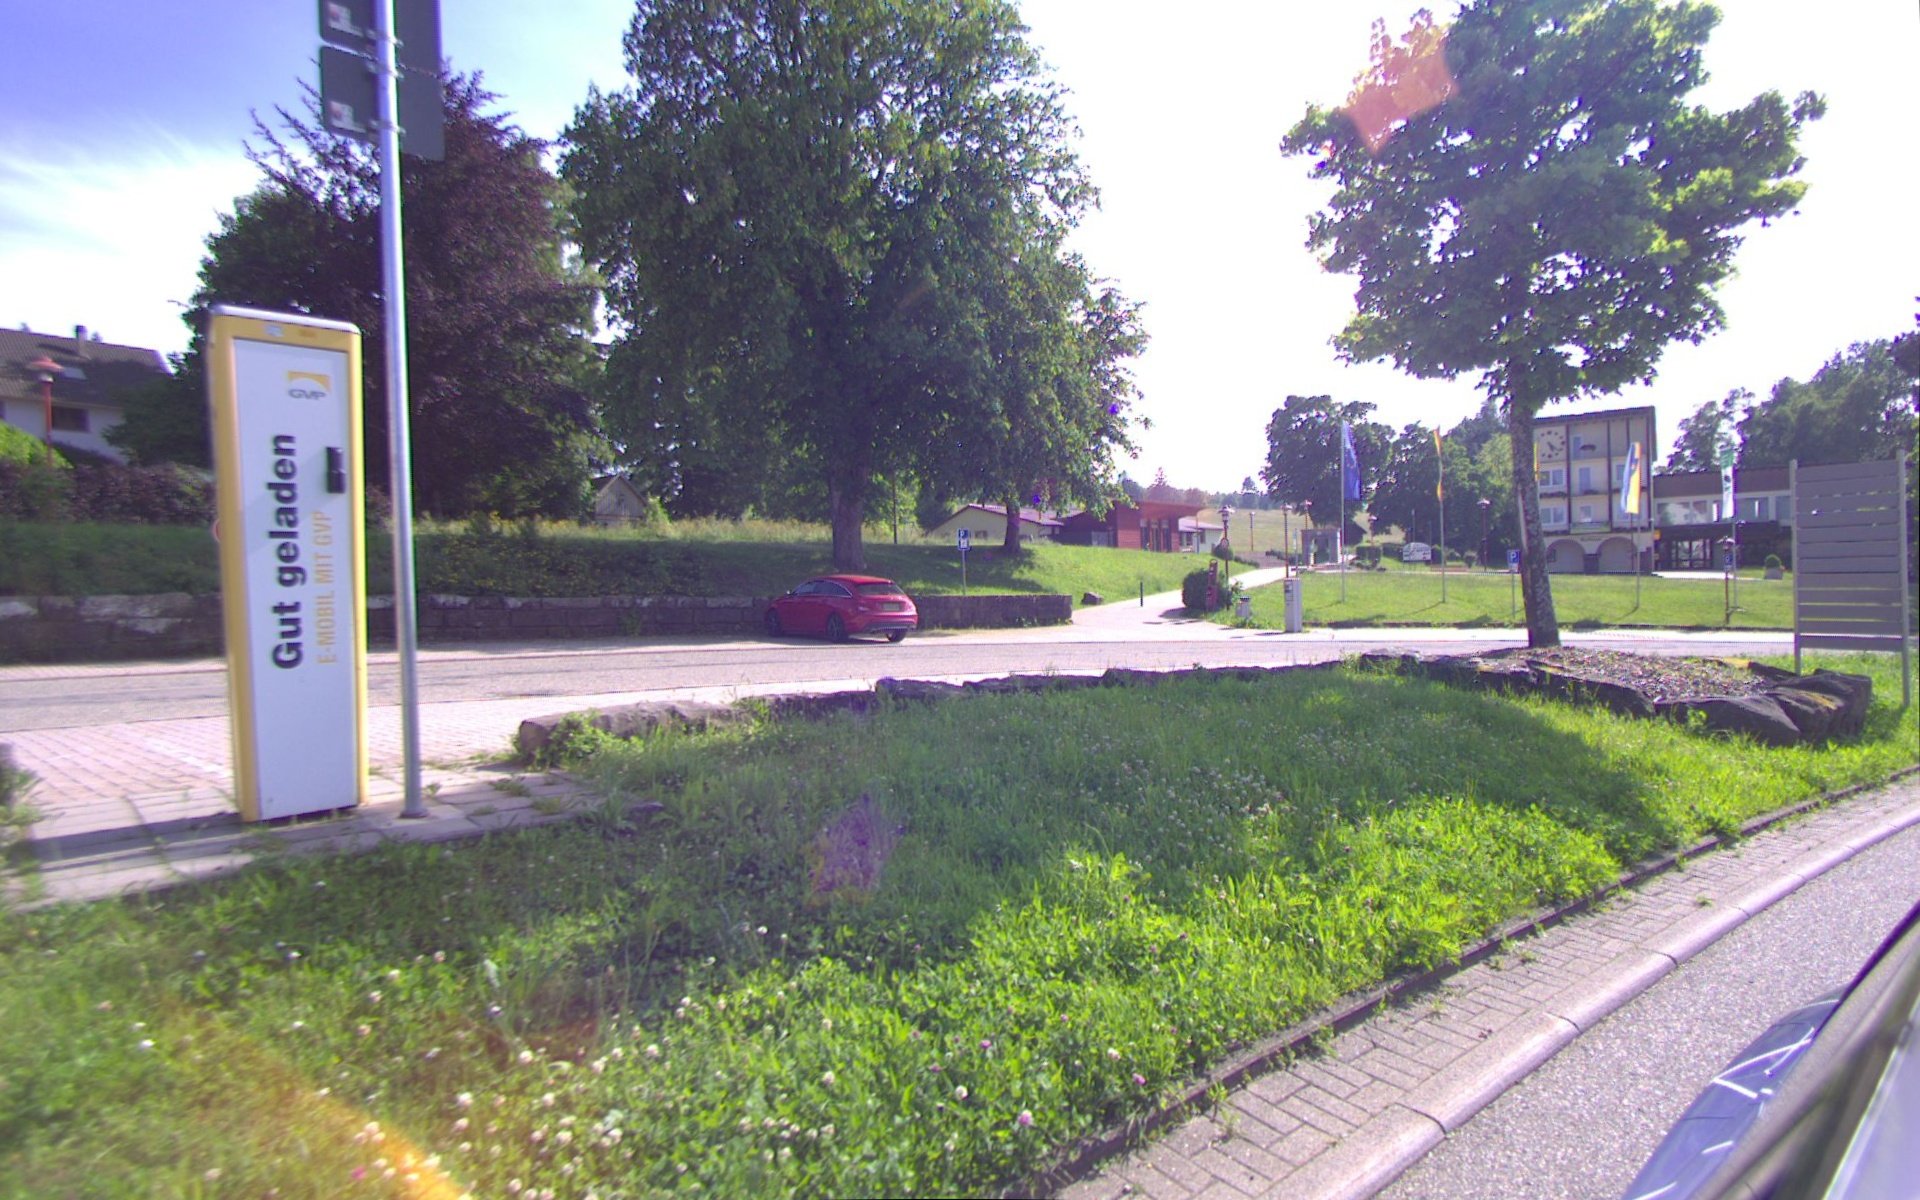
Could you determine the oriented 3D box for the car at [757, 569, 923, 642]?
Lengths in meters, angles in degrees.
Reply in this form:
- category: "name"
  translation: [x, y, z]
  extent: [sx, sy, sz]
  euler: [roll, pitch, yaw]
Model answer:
- category: "car"
  translation: [-2.784, 0.054, 22.656]
  extent: [1.672, 1.446, 4.262]
  euler: [-1, 2, -39]
